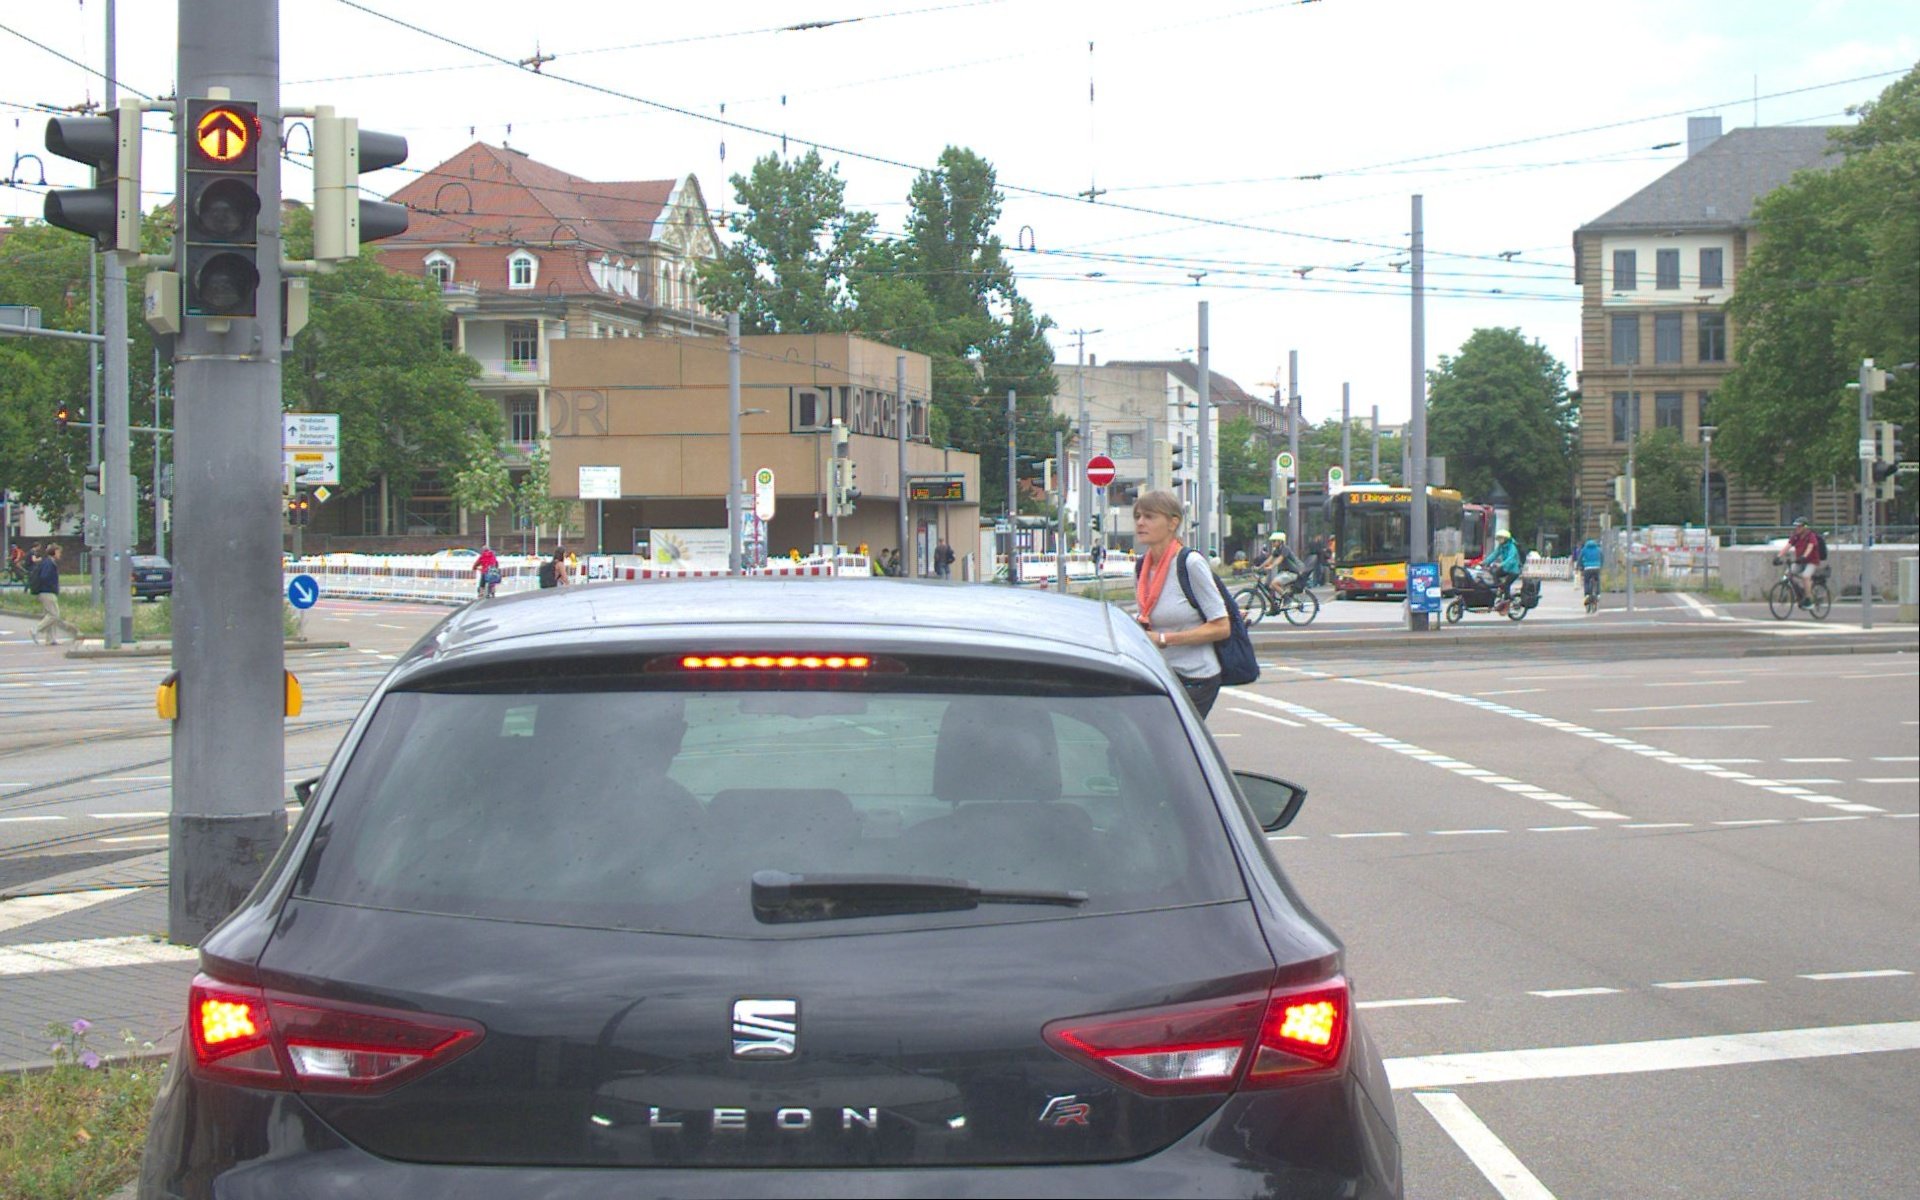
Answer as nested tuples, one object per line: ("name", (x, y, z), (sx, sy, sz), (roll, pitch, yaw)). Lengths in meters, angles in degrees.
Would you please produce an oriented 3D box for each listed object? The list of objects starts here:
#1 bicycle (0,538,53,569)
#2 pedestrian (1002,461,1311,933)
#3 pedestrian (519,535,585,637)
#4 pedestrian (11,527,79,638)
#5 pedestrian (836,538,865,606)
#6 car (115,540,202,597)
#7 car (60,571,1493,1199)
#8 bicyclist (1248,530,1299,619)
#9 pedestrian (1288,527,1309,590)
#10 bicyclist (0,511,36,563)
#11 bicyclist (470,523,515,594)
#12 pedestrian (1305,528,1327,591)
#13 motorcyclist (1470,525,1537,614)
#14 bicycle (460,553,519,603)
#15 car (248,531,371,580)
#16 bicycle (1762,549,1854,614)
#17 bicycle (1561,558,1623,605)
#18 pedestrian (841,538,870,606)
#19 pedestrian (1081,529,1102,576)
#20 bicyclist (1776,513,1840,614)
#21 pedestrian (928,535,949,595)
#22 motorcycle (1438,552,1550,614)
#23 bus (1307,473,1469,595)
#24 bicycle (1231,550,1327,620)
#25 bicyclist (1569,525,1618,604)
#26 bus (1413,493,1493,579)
("bicycle", (-36.382, -1.813, 132.843), (0.941, 1.175, 2.725), (0, 1, 28))
("pedestrian", (0.832, 0.386, 14.503), (1.101, 1.900, 0.735), (0, 0, -43))
("pedestrian", (-7.744, -0.271, 65.310), (0.700, 1.927, 1.028), (0, 1, 38))
("pedestrian", (-16.111, -0.322, 60.526), (1.027, 1.927, 0.701), (-1, 1, -25))
("pedestrian", (-3.081, -0.791, 96.584), (0.708, 1.911, 0.623), (0, 1, 7))
("car", (-24.450, -0.951, 104.770), (1.993, 1.678, 4.001), (0, 0, -22))
("car", (-0.353, 0.690, 6.002), (1.704, 1.444, 3.813), (0, 1, -4))
("bicyclist", (5.949, -0.485, 65.201), (0.854, 1.667, 0.654), (0, 1, -4))
("pedestrian", (10.391, -1.270, 105.516), (0.621, 1.911, 0.710), (0, 1, 3))
("bicyclist", (-36.414, -2.448, 132.812), (0.939, 2.007, 0.977), (0, 1, 28))
("bicyclist", (-11.367, -1.012, 83.629), (0.882, 1.726, 0.894), (0, 1, -22))
("pedestrian", (10.806, -1.230, 104.455), (0.621, 1.911, 0.698), (0, 1, 9))
("motorcyclist", (10.251, -0.577, 64.810), (0.977, 1.644, 0.750), (-1, 0, -33))
("bicycle", (-11.496, -0.548, 83.996), (0.891, 1.174, 2.302), (0, 1, -22))
("car", (-23.272, -1.592, 123.041), (3.987, 1.678, 2.000), (-1, 0, 1))
("bicycle", (15.959, -0.358, 64.696), (0.777, 1.180, 2.027), (1, 1, 44))
("bicycle", (15.076, -0.456, 82.008), (0.865, 1.101, 2.302), (0, 1, -5))
("pedestrian", (-2.959, -0.790, 97.380), (0.708, 1.911, 0.623), (0, 1, 7))
("pedestrian", (5.447, -1.964, 142.472), (0.622, 1.911, 0.709), (-1, 0, 25))
("bicyclist", (15.954, -0.691, 64.659), (0.777, 1.891, 0.994), (0, 1, 44))
("pedestrian", (-0.703, -1.135, 110.862), (0.621, 1.911, 0.710), (0, 1, 3))
("motorcycle", (10.049, -0.326, 64.689), (2.135, 1.135, 0.744), (-1, 1, -33))
("bus", (11.756, -1.785, 93.460), (2.962, 3.112, 11.531), (0, 1, 14))
("bicycle", (6.040, -0.289, 65.211), (1.730, 1.317, 0.645), (0, 1, -4))
("bicyclist", (15.088, -0.849, 81.896), (0.871, 1.845, 1.048), (0, 1, -6))
("bus", (19.661, -2.535, 136.671), (2.655, 3.272, 10.990), (0, 1, 11))
